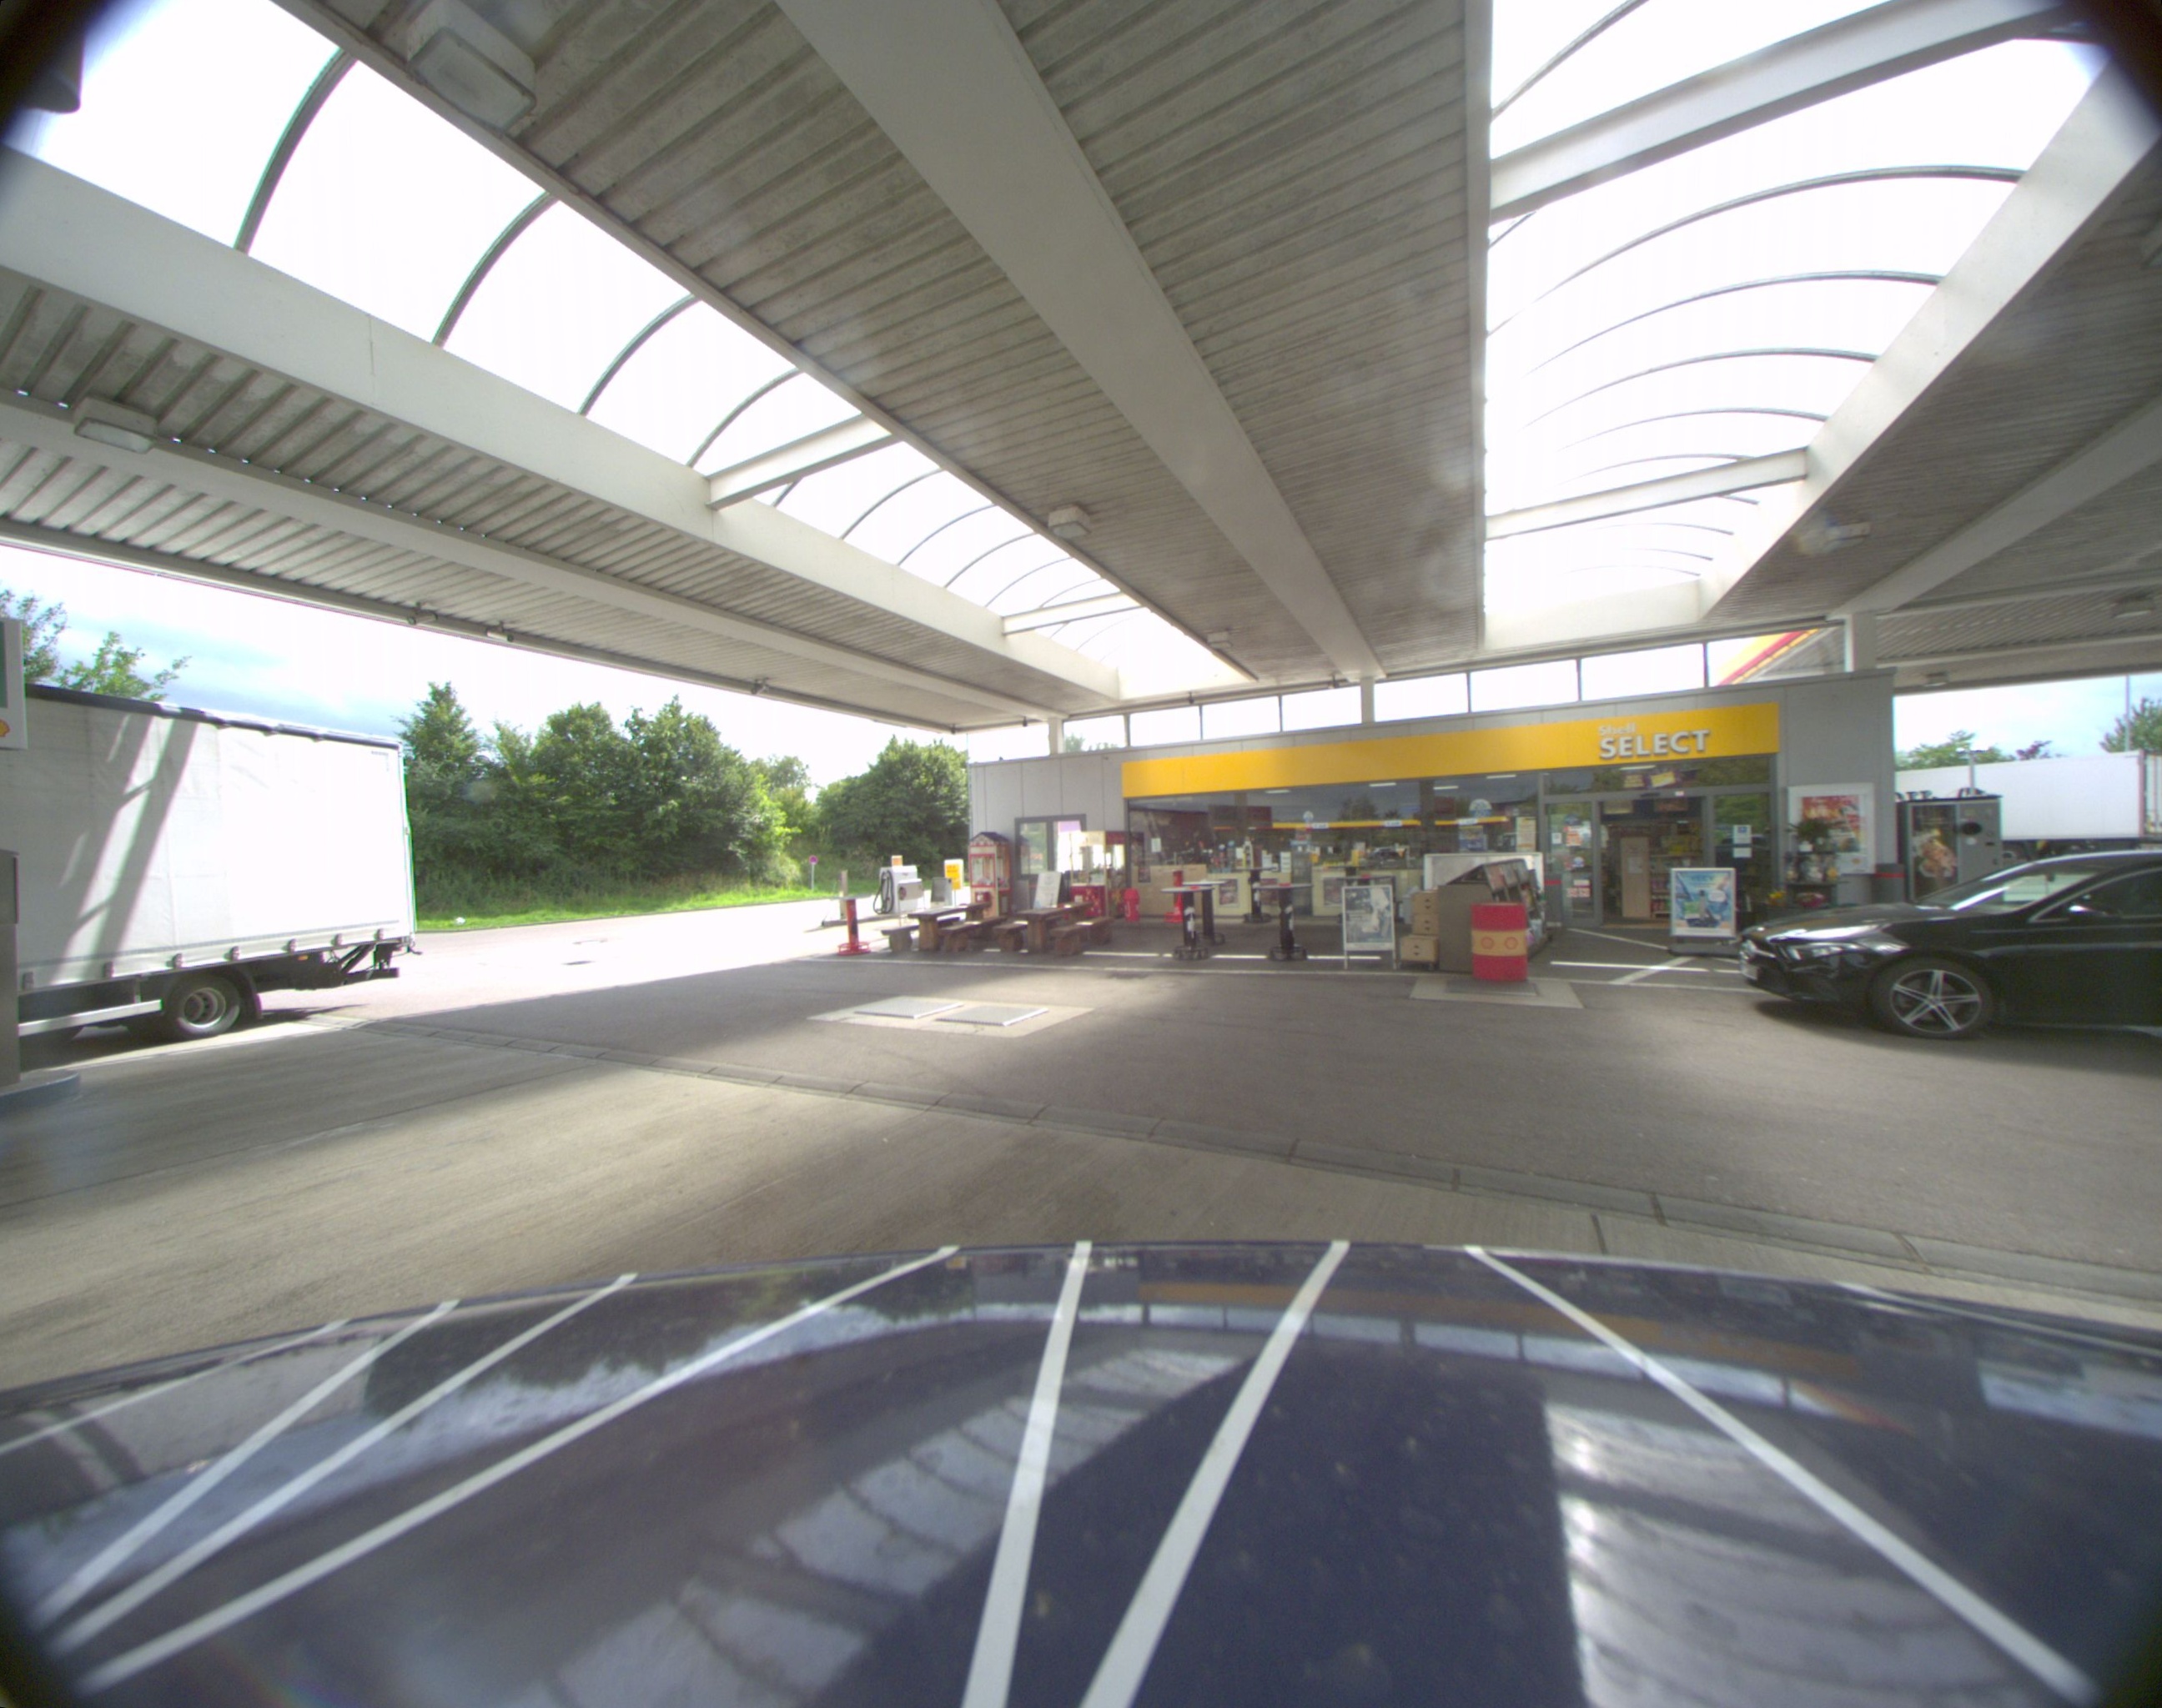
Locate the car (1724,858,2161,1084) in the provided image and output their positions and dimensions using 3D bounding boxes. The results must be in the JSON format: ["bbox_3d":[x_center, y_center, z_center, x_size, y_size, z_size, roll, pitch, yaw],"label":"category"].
[{"bbox_3d":[8.137,0.822,5.933,4.461,1.491,1.782,-2,1,28],"label":"car"}]

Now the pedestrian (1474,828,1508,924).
[{"bbox_3d":[8.289,0.441,15.358,0.508,1.895,0.582,-1,1,33],"label":"pedestrian"}]

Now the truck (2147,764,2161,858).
[{"bbox_3d":[51.471,-2.012,33.168,3.383,4.479,6.239,-2,1,29],"label":"truck"}]

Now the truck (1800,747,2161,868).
[{"bbox_3d":[35.123,-1.593,30.085,2.796,3.982,9.578,-2,1,-16],"label":"truck"}]
